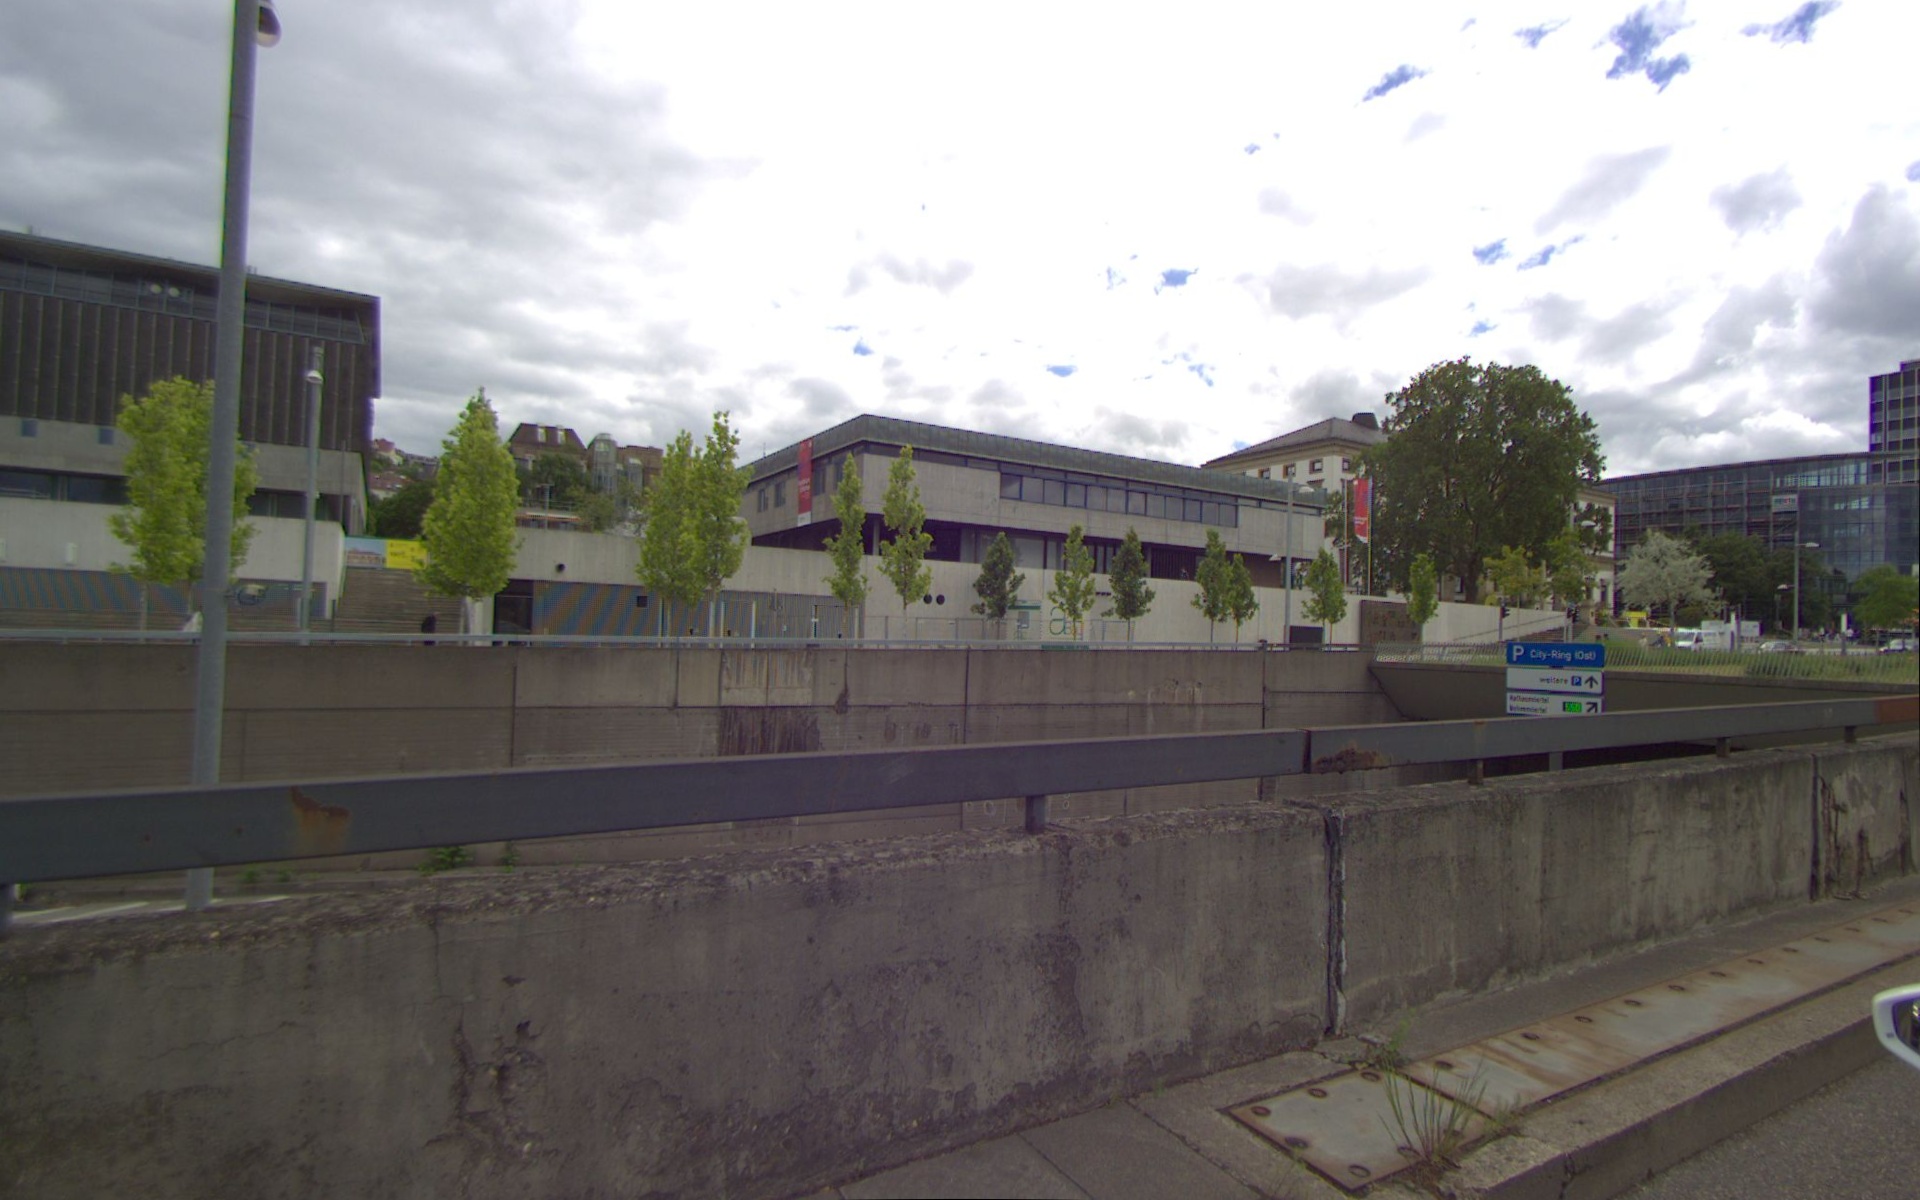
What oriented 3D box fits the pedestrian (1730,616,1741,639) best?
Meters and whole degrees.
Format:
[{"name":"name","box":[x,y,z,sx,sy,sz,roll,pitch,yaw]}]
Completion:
[{"name":"pedestrian","box":[69.290,2.445,89.758,0.730,2.040,0.789,1,-3,41]}]

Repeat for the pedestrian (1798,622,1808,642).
[{"name":"pedestrian","box":[86.570,3.292,103.158,0.729,2.040,0.917,-1,-1,37]}]

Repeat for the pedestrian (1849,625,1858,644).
[{"name":"pedestrian","box":[97.412,3.792,109.526,0.731,2.040,0.788,-1,-1,45]}]

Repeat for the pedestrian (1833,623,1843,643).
[{"name":"pedestrian","box":[90.141,3.367,103.108,0.731,2.040,0.788,-1,-1,45]}]

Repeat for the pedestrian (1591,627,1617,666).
[{"name":"pedestrian","box":[33.881,2.441,52.839,0.821,2.040,0.792,0,-1,-6]}]

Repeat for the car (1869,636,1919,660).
[{"name":"car","box":[67.161,3.474,72.209,3.556,1.514,1.723,3,0,-32]}]

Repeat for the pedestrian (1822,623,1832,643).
[{"name":"pedestrian","box":[87.176,3.312,101.026,0.730,2.040,0.916,-1,-1,41]}]

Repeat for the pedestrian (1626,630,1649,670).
[{"name":"pedestrian","box":[34.857,2.557,51.678,0.845,2.040,0.629,0,-1,17]}]

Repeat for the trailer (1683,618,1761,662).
[{"name":"trailer","box":[48.940,2.542,64.473,5.443,2.640,2.027,1,1,-30]}]

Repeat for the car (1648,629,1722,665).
[{"name":"car","box":[44.613,2.875,61.817,4.635,2.040,1.985,0,0,-30]}]

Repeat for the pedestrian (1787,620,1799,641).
[{"name":"pedestrian","box":[83.579,3.077,100.796,0.783,2.040,0.735,0,-1,-29]}]

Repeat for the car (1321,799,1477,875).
[{"name":"car","box":[13.142,7.017,30.045,4.345,1.789,2.153,6,-5,-30]}]

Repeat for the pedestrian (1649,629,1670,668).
[{"name":"pedestrian","box":[37.759,2.621,54.226,0.623,2.041,0.724,-4,2,-37]}]

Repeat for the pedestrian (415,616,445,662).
[{"name":"pedestrian","box":[-19.542,1.434,37.030,0.779,1.664,0.739,0,-1,-11]}]

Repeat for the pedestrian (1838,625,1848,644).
[{"name":"pedestrian","box":[96.948,3.742,110.313,0.731,2.040,0.788,-1,-1,45]}]

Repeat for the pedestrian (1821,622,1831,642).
[{"name":"pedestrian","box":[88.021,3.246,102.114,0.731,2.040,0.788,-1,-1,45]}]

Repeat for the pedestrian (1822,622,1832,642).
[{"name":"pedestrian","box":[89.010,3.306,103.159,0.731,2.040,0.788,-1,-1,45]}]

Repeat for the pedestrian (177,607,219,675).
[{"name":"pedestrian","box":[-23.273,1.247,30.683,0.779,2.040,0.739,0,-1,-12]}]

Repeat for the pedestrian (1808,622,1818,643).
[{"name":"pedestrian","box":[86.361,3.272,101.650,0.730,2.040,0.916,-1,-1,41]}]

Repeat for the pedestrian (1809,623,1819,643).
[{"name":"pedestrian","box":[87.132,3.337,102.511,0.729,2.040,1.078,-1,-1,39]}]
